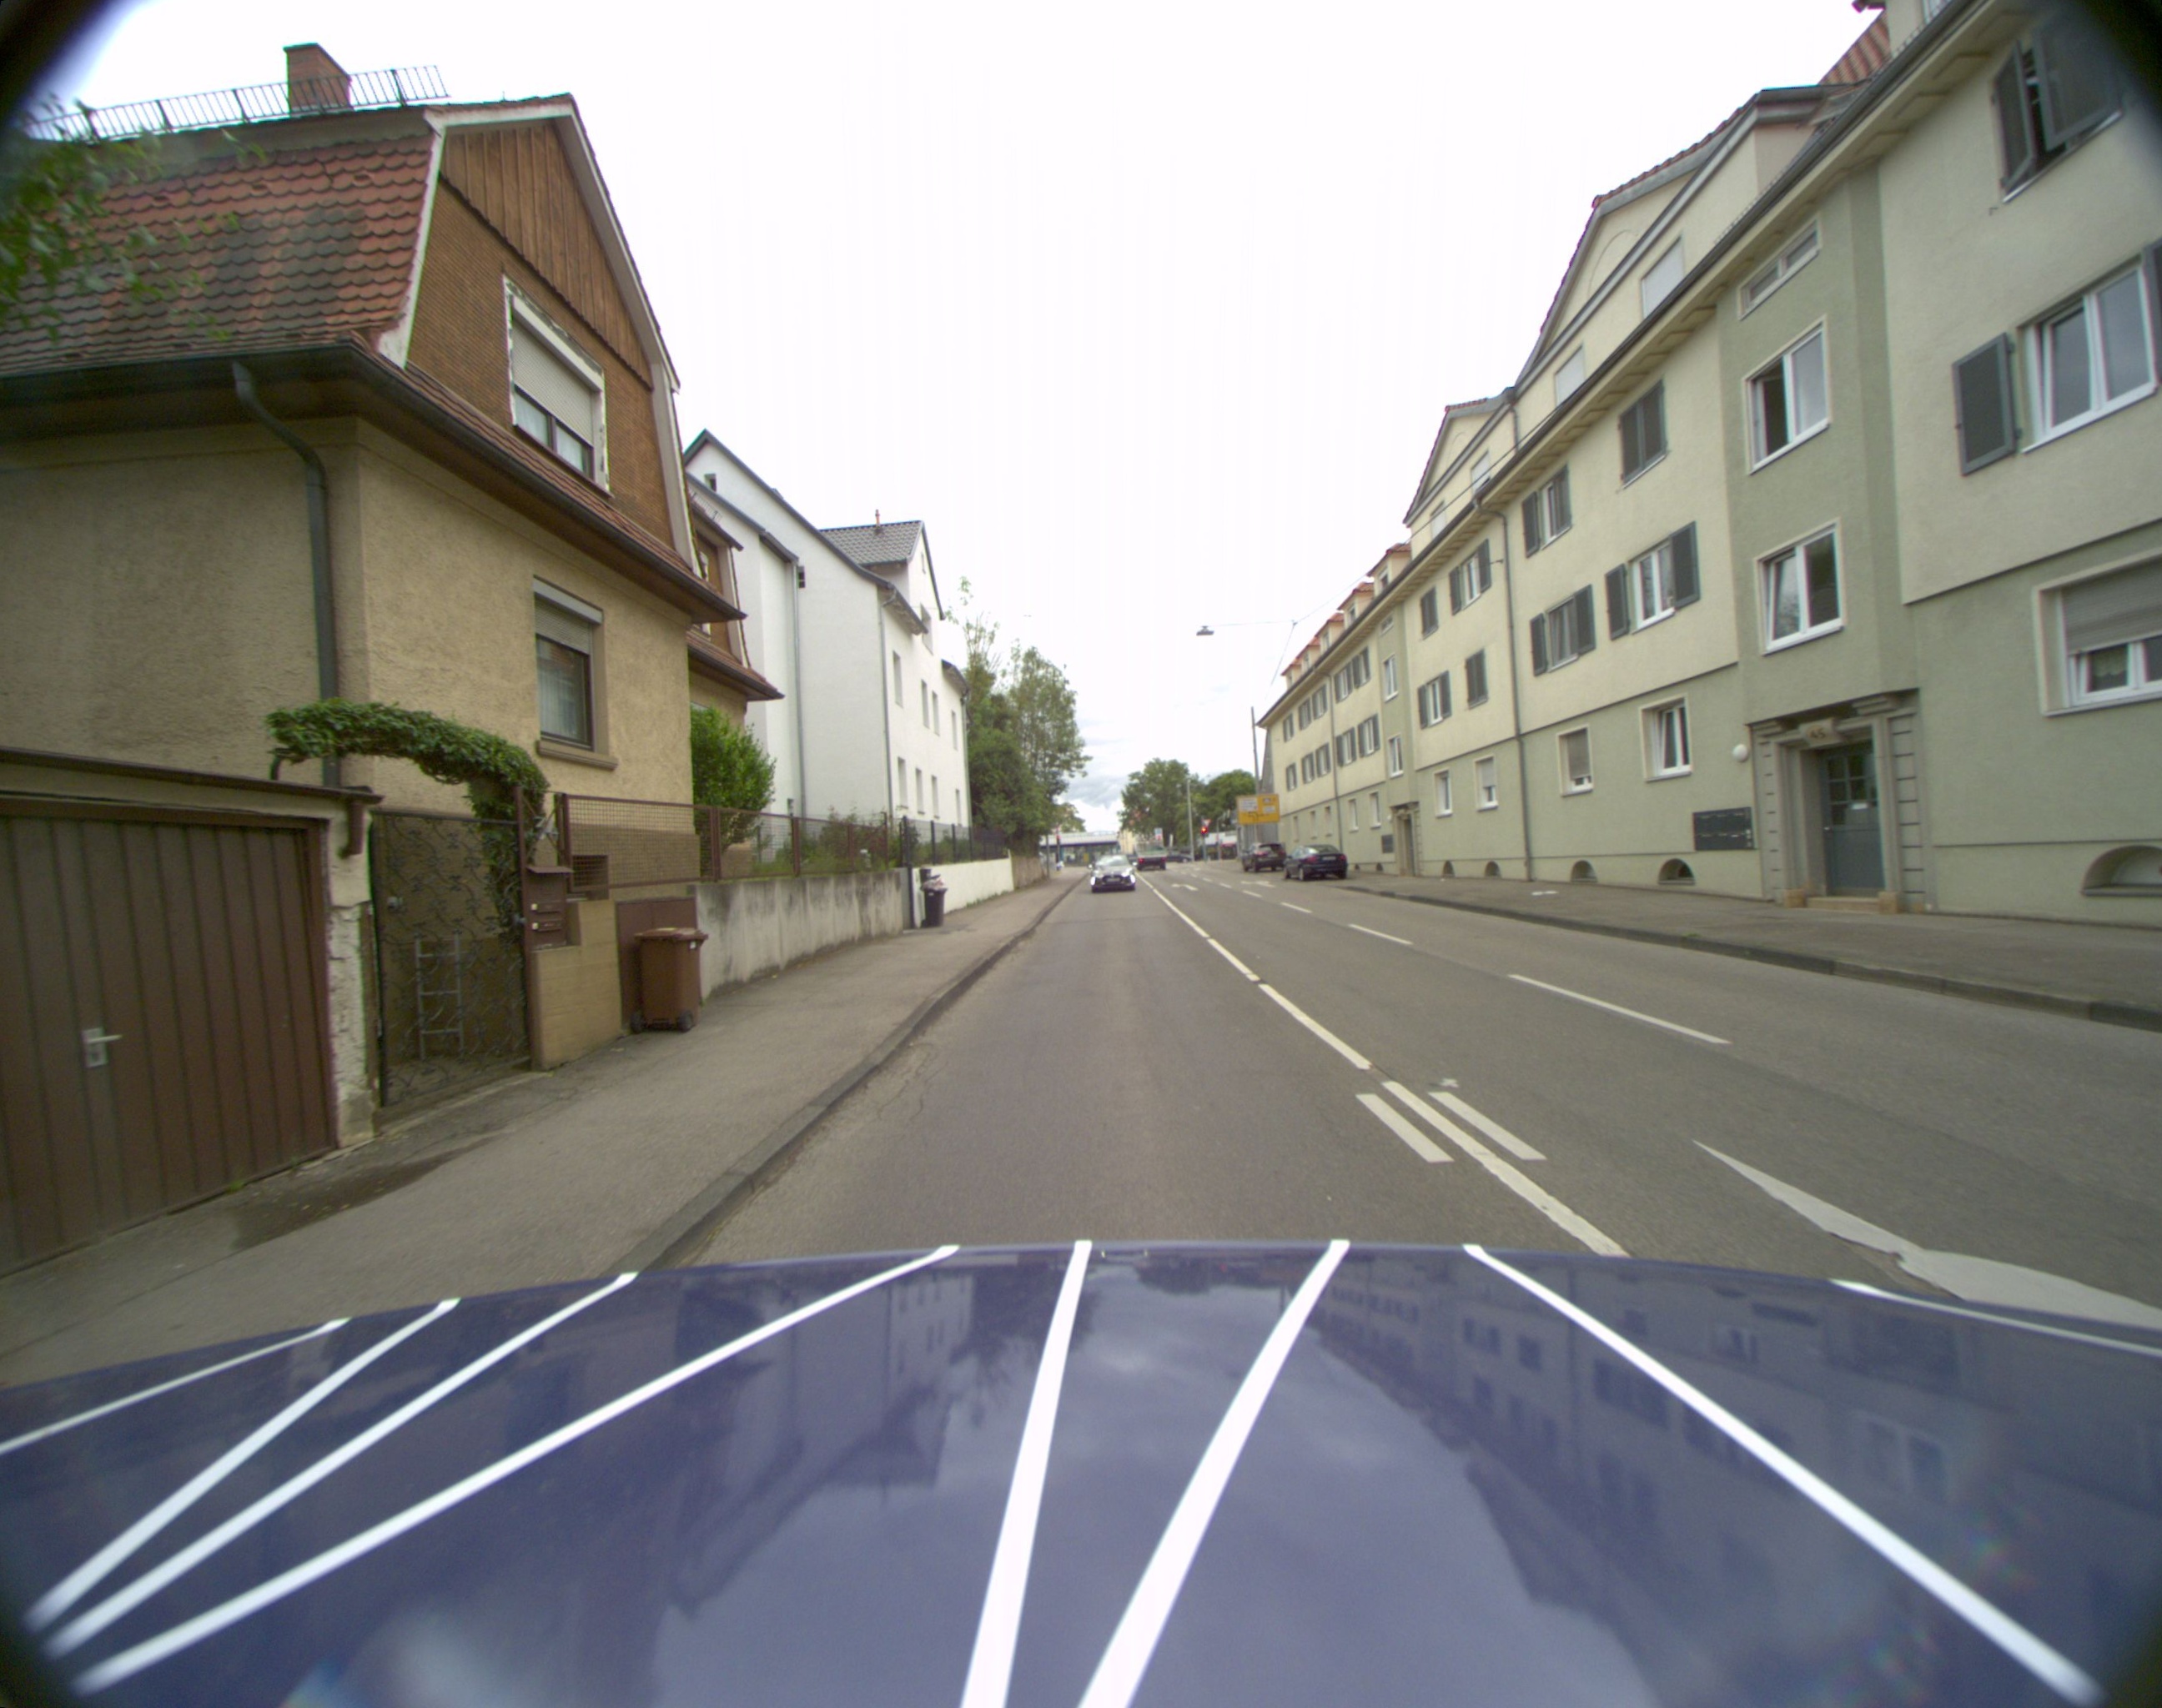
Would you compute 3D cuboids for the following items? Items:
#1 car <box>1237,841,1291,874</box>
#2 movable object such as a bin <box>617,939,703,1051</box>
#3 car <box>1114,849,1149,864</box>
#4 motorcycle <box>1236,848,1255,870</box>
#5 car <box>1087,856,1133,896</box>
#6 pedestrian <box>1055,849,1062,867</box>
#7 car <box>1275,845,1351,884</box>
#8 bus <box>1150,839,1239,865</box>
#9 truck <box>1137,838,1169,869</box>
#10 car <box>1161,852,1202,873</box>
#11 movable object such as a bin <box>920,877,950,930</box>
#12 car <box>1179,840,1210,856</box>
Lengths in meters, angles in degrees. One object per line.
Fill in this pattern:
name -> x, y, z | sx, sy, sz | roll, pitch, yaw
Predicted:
car -> 10.051, 0.166, 42.029 | 1.826, 1.623, 4.696 | -4, 0, 1
movable object such as a bin -> -3.829, 1.266, 6.937 | 0.462, 0.919, 0.566 | 0, 1, 1
car -> 5.897, 0.284, 89.433 | 3.997, 1.641, 2.000 | -2, 1, 1
motorcycle -> 10.204, 0.315, 47.119 | 0.627, 1.283, 2.230 | -5, 0, 1
car -> 1.172, 0.821, 29.885 | 1.646, 1.390, 3.782 | -2, 0, 3
pedestrian -> -2.000, 0.350, 67.551 | 0.553, 1.582, 0.672 | 0, 1, 0
car -> 9.467, 0.384, 31.360 | 1.714, 1.395, 4.846 | -4, 0, 2
bus -> 15.614, -0.220, 104.944 | 11.844, 3.044, 2.001 | -2, -1, 6
truck -> 5.472, -0.078, 58.710 | 2.126, 2.188, 6.590 | -2, 0, 3
car -> 10.798, 0.922, 81.750 | 3.997, 2.002, 2.000 | -3, 1, 0
movable object such as a bin -> -3.311, 1.111, 17.272 | 0.529, 1.171, 0.634 | 0, 1, 1
car -> 16.411, -0.896, 109.968 | 3.998, 2.177, 1.999 | -2, 1, -2
